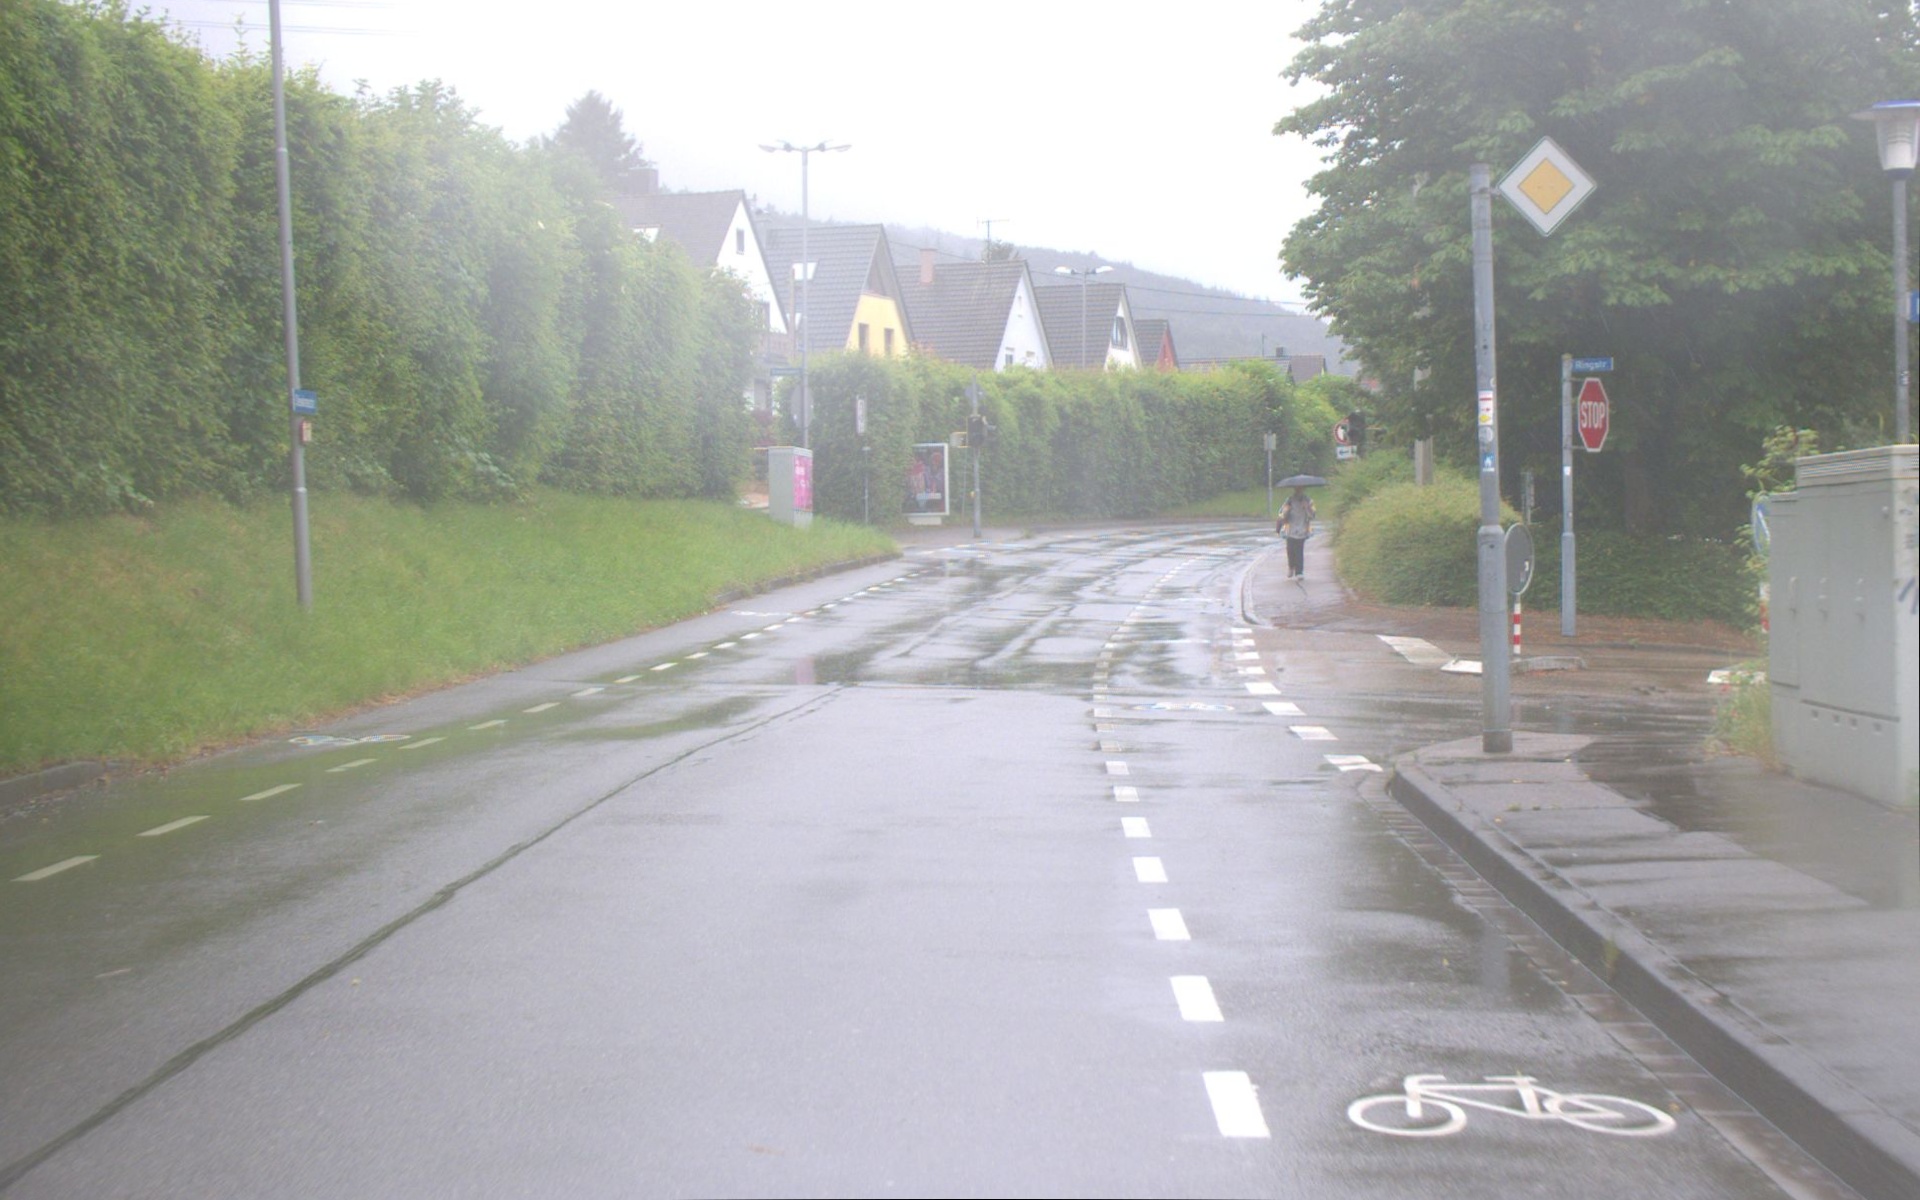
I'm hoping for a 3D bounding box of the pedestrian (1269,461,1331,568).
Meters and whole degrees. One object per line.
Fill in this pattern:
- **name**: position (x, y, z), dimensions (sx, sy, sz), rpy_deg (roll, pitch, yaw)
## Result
- **pedestrian**: position (5.437, -1.381, 55.026), dimensions (0.920, 1.669, 1.057), rpy_deg (-2, 2, 5)
